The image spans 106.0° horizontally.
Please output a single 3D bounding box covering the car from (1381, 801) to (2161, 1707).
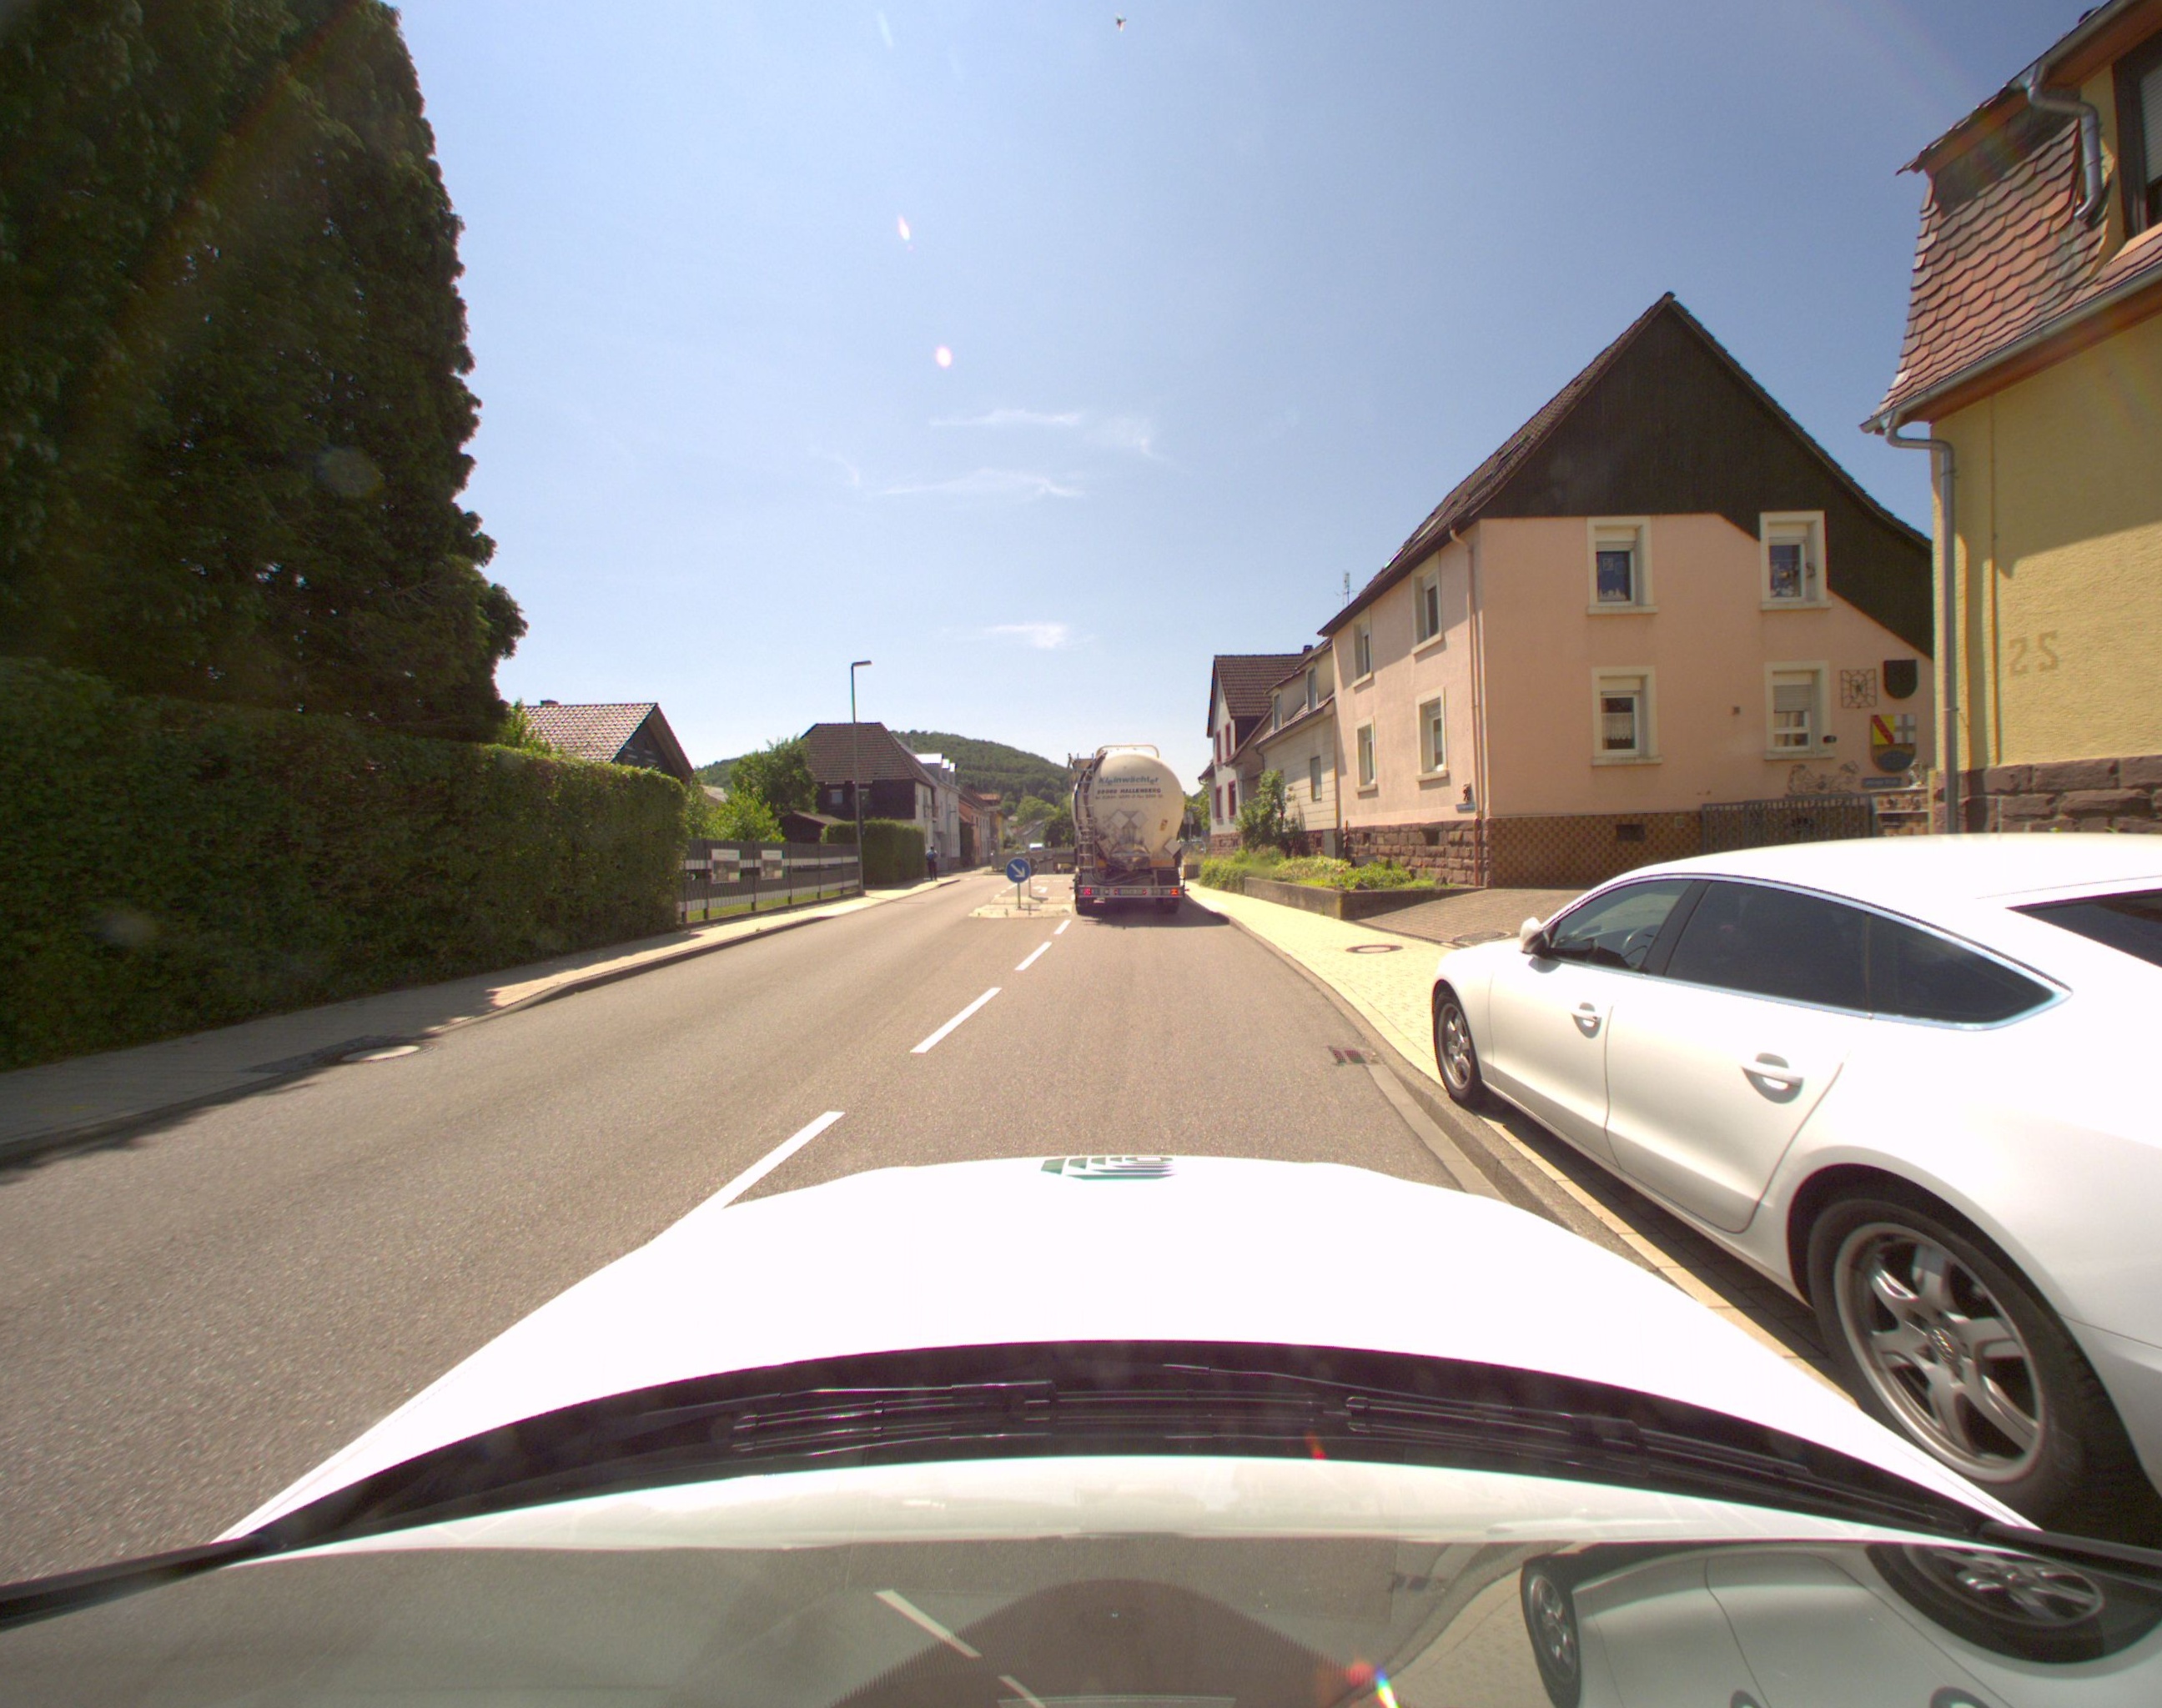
[{"bbox_3d":[2.685,0.601,3.060,1.747,1.418,4.640,-4,-1,6],"label":"car"}]

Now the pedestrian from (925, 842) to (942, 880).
[{"bbox_3d":[-7.240,0.339,39.982,0.711,1.823,0.897,0,-1,-5],"label":"pedestrian"}]

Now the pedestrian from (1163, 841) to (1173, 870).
[{"bbox_3d":[5.068,0.084,47.463,0.568,1.693,0.721,0,-1,3],"label":"pedestrian"}]

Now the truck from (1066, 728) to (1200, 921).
[{"bbox_3d":[1.006,-0.656,22.760,2.743,4.056,10.882,-1,0,-1],"label":"truck"}]
